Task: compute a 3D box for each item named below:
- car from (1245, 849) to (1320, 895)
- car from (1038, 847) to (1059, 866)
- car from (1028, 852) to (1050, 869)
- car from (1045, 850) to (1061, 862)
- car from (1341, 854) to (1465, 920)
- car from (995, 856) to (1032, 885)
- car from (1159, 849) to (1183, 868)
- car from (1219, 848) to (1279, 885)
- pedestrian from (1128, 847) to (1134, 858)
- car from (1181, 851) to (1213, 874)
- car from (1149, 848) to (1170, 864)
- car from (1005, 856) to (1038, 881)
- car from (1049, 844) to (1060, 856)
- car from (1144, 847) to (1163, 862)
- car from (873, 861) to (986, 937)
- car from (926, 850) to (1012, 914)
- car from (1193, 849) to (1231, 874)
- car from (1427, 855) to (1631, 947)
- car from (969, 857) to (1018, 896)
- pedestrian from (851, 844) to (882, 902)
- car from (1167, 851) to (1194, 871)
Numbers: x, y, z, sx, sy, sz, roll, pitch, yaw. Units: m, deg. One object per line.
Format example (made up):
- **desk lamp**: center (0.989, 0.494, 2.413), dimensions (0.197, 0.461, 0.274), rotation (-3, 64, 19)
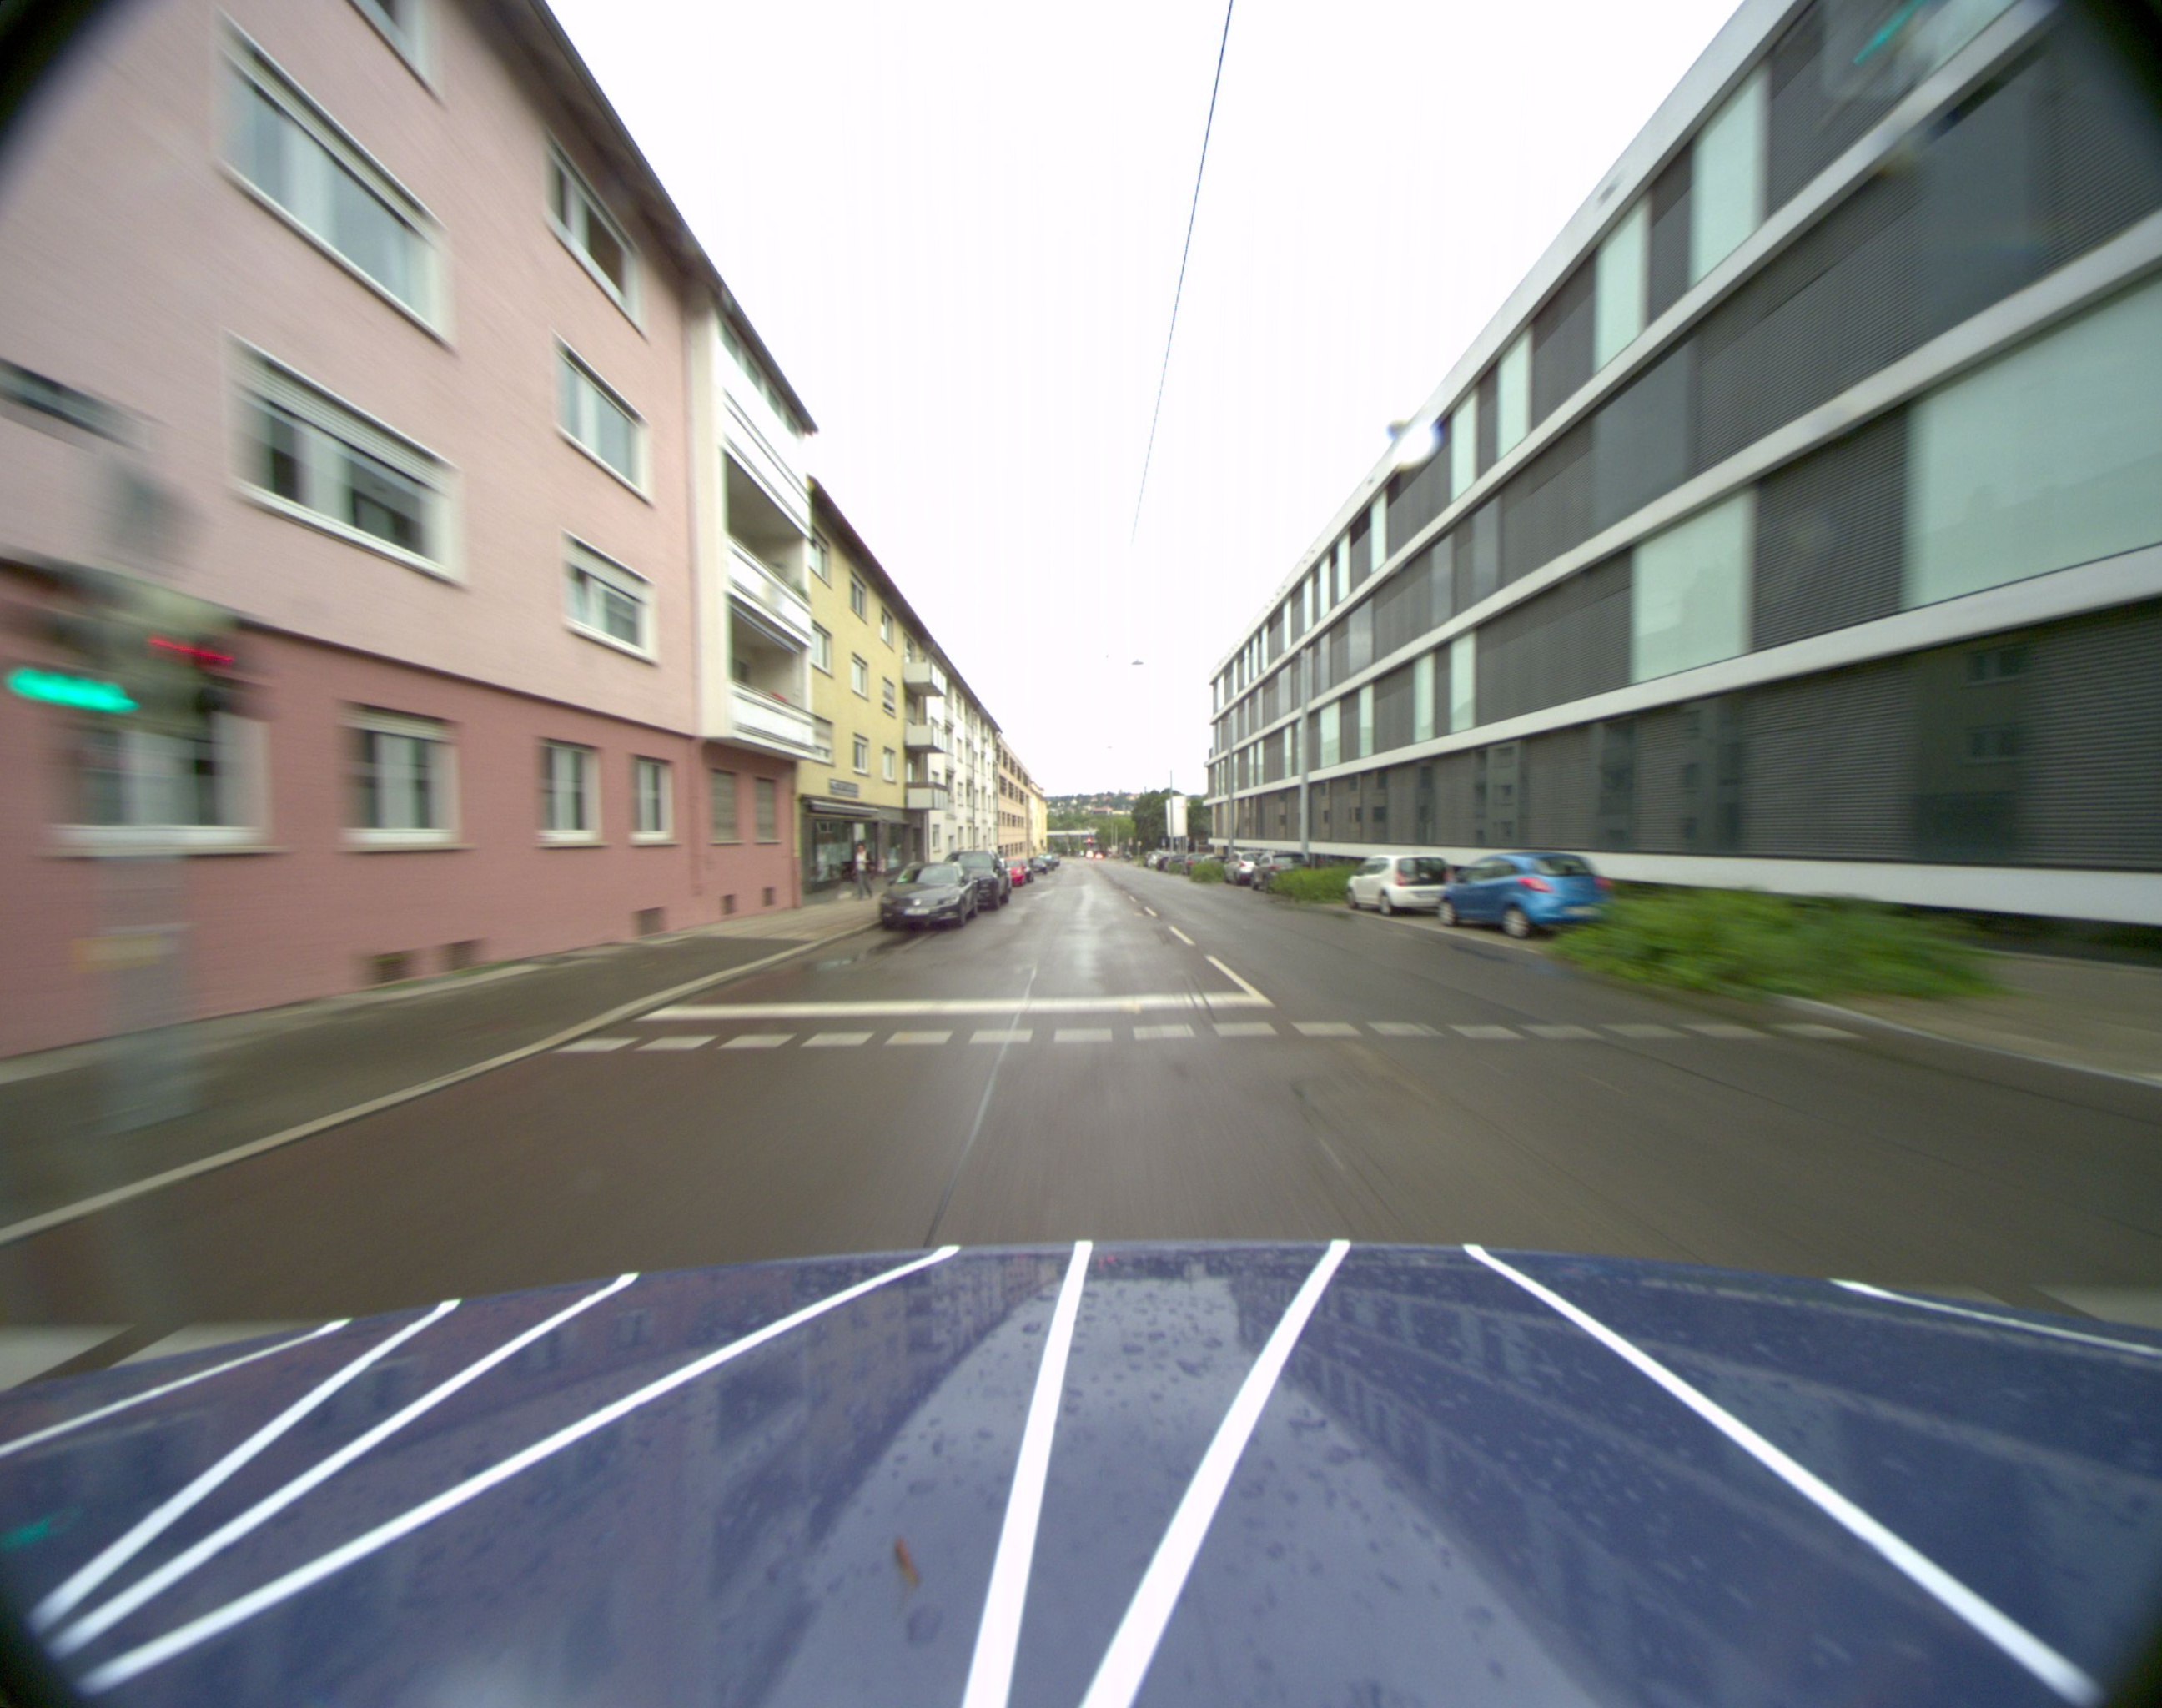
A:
- **car**: center (7.786, 0.625, 29.737), dimensions (1.887, 1.580, 4.363), rotation (-2, 1, 2)
- **car**: center (-3.340, 0.202, 79.191), dimensions (1.911, 1.865, 4.749), rotation (-1, 0, 1)
- **car**: center (-3.538, 0.525, 64.417), dimensions (1.630, 1.402, 3.777), rotation (-1, 0, 1)
- **car**: center (-3.497, 0.232, 95.921), dimensions (1.799, 1.501, 4.000), rotation (-1, 0, 1)
- **car**: center (7.938, 0.744, 19.063), dimensions (1.641, 1.458, 3.583), rotation (-1, 1, 1)
- **car**: center (-3.512, 0.835, 40.183), dimensions (1.630, 1.448, 3.483), rotation (-1, 0, 0)
- **car**: center (7.879, 0.353, 67.018), dimensions (1.642, 1.576, 4.041), rotation (-1, 1, 0)
- **car**: center (7.904, 0.552, 36.056), dimensions (1.835, 1.580, 4.362), rotation (-2, 1, 0)
- **pedestrian**: center (7.777, -0.253, 119.078), dimensions (0.651, 1.652, 0.648), rotation (-1, 1, -41)
- **car**: center (7.866, 0.533, 51.887), dimensions (1.565, 1.463, 4.041), rotation (-1, 1, 0)
- **car**: center (7.921, 0.198, 77.044), dimensions (1.642, 1.576, 4.041), rotation (-1, 1, 0)
- **car**: center (-3.455, 0.847, 44.875), dimensions (1.630, 1.402, 3.778), rotation (0, 0, 0)
- **car**: center (-5.451, -0.825, 156.586), dimensions (1.891, 2.447, 4.513), rotation (-2, 1, 1)
- **car**: center (7.975, 0.071, 83.949), dimensions (1.642, 1.576, 4.041), rotation (-1, 1, 0)
- **car**: center (-3.475, 0.976, 18.317), dimensions (1.797, 1.511, 4.512), rotation (-1, 0, 0)
- **car**: center (-3.379, 0.791, 23.821), dimensions (1.968, 1.764, 4.512), rotation (-1, 0, 0)
- **car**: center (7.880, 0.407, 45.975), dimensions (1.565, 1.385, 4.041), rotation (-1, 1, 0)
- **car**: center (8.135, 0.767, 14.205), dimensions (1.641, 1.458, 3.583), rotation (-1, 1, -2)
- **car**: center (-3.610, 0.894, 31.757), dimensions (1.630, 1.448, 3.483), rotation (-1, 0, 0)
- **pedestrian**: center (-6.733, 0.597, 23.899), dimensions (0.715, 1.763, 0.748), rotation (2, 1, 0)
- **car**: center (7.928, 0.542, 60.991), dimensions (1.642, 1.463, 4.041), rotation (-1, 1, 0)
